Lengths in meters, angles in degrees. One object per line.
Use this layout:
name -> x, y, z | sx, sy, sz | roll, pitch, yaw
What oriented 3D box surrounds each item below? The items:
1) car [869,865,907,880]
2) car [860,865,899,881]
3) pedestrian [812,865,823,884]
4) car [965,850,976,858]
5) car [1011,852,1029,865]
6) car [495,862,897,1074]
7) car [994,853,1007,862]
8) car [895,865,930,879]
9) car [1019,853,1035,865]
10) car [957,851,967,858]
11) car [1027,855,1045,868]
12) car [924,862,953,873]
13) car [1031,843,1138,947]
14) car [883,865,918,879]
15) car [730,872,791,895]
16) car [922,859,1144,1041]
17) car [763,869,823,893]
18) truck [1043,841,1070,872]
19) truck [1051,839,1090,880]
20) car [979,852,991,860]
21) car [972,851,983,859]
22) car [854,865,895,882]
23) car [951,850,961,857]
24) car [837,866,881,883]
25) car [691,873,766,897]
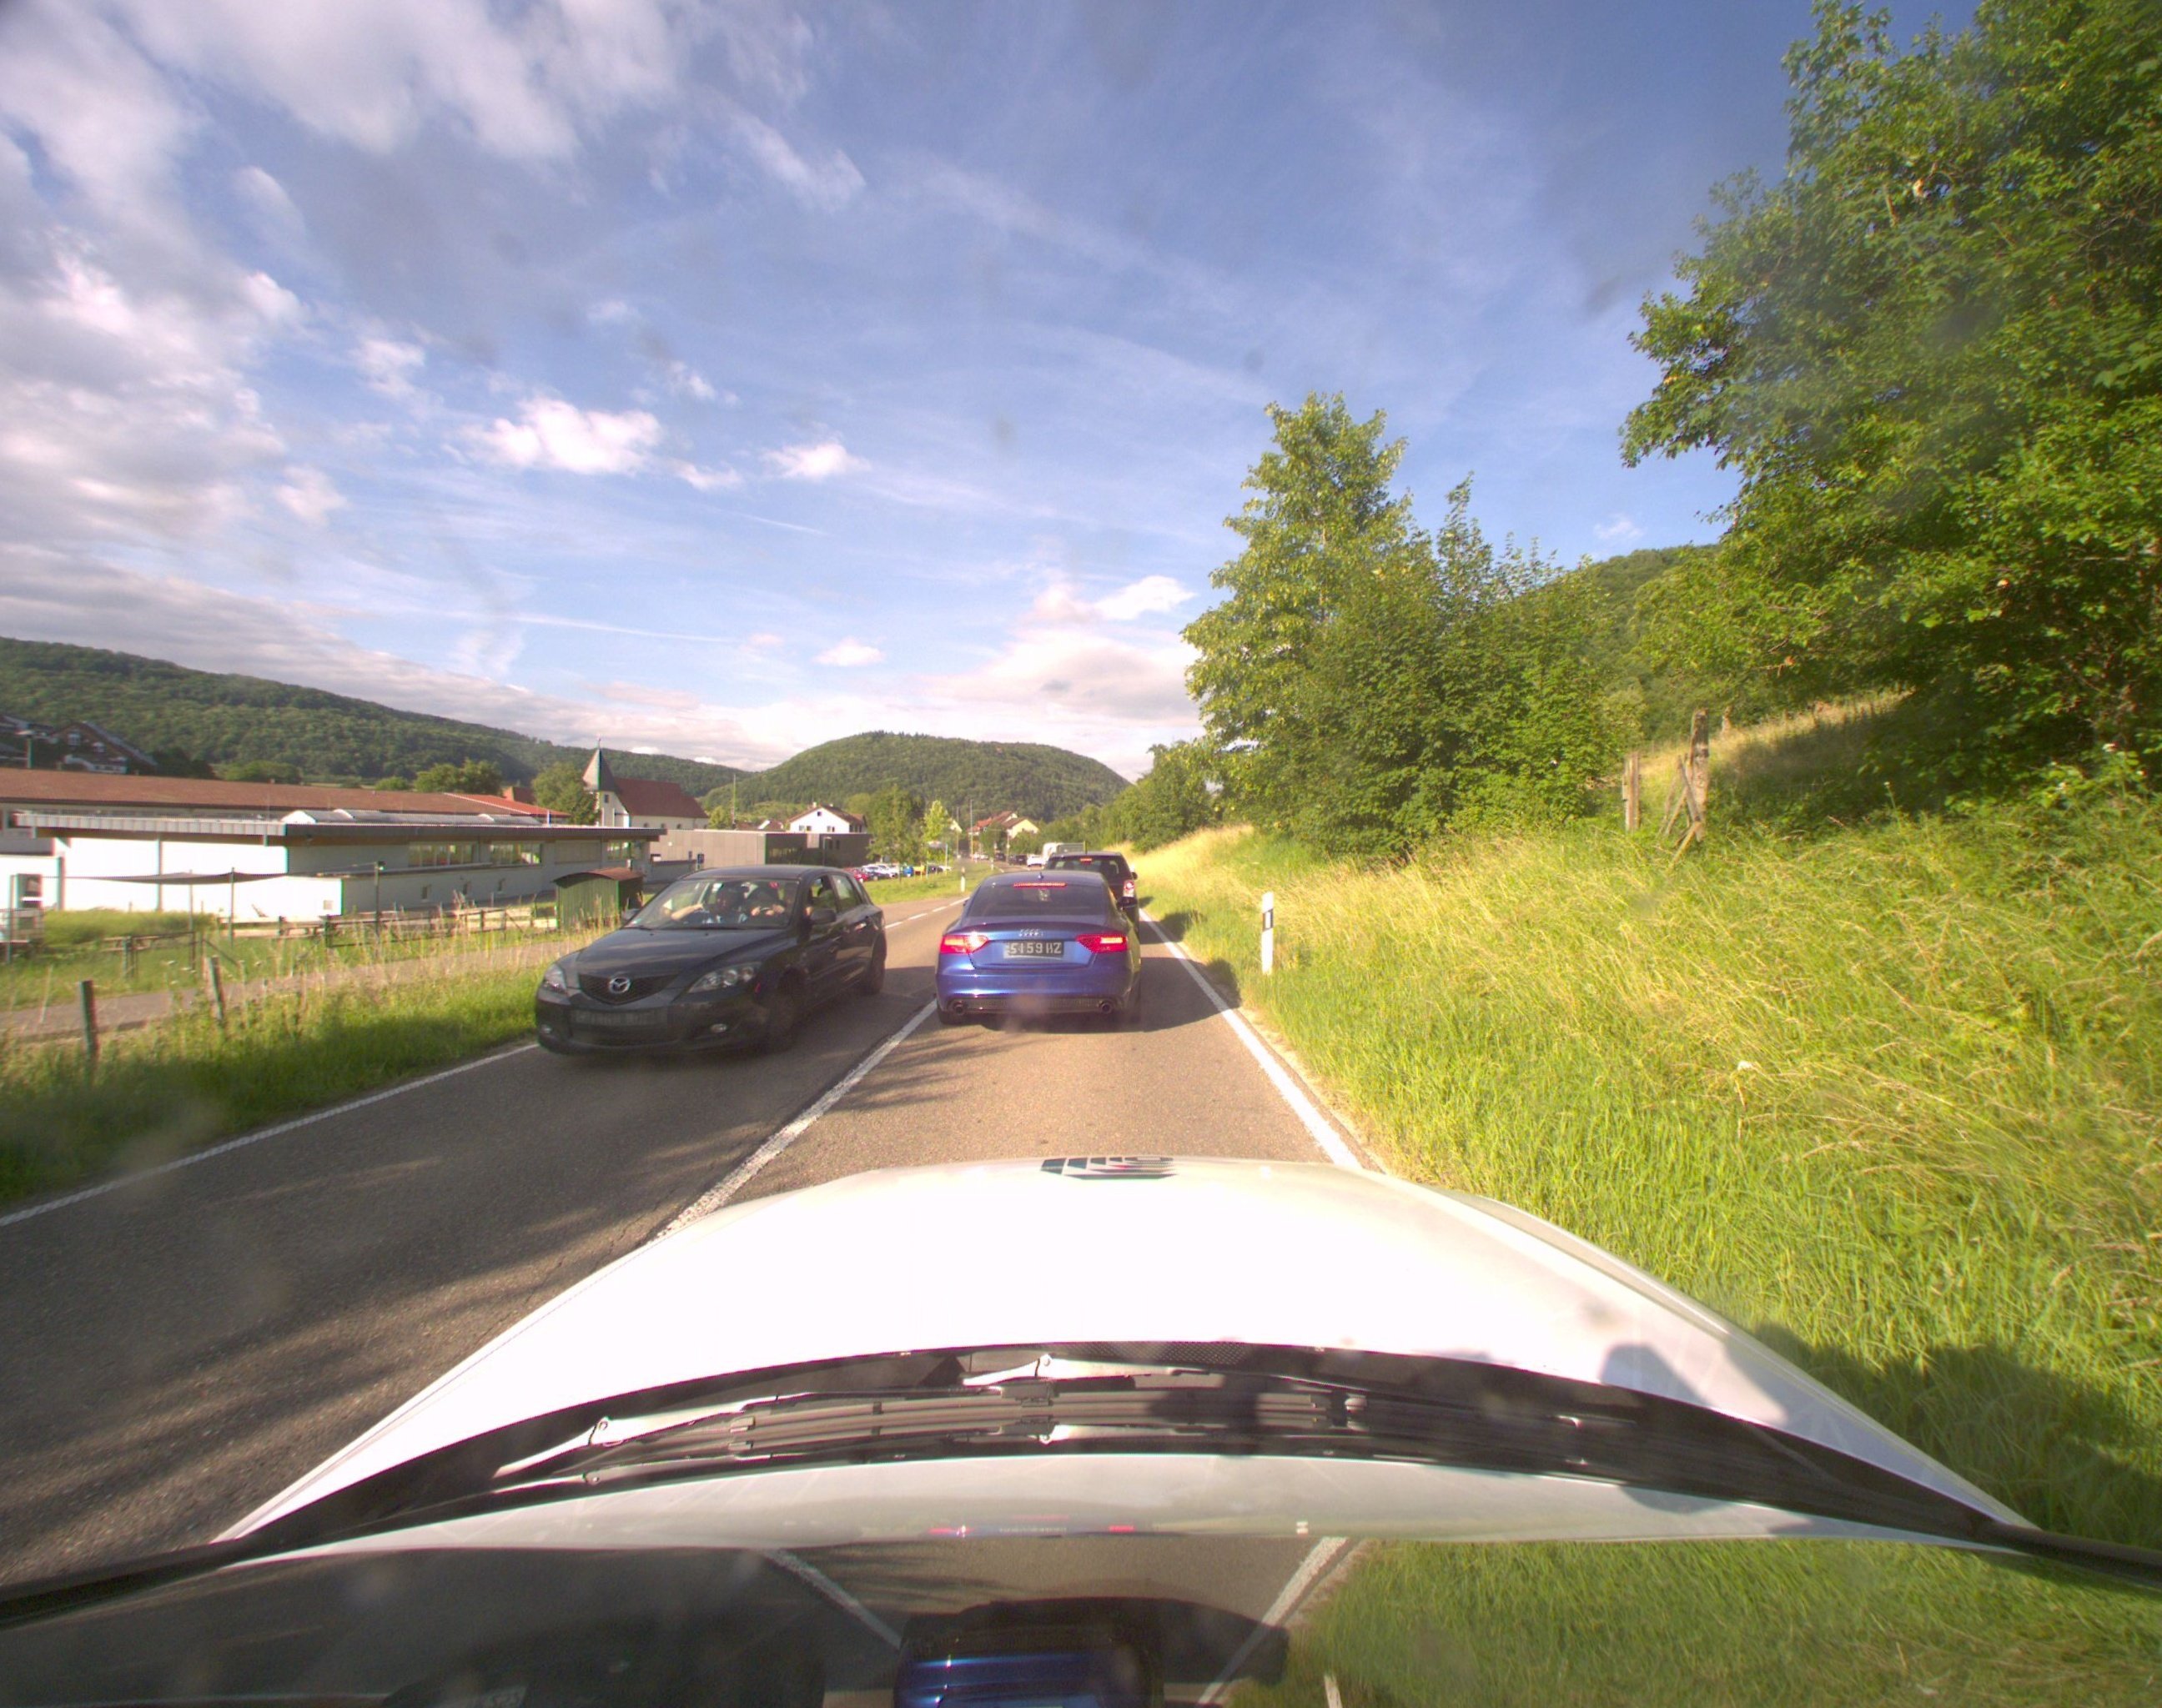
car -> -22.813, 2.197, 96.272 | 3.975, 1.711, 1.999 | 0, -1, -1
car -> -23.020, 2.169, 92.991 | 3.975, 1.711, 1.999 | 0, -1, -1
pedestrian -> -28.872, 2.237, 89.259 | 0.822, 2.014, 0.973 | 0, -1, 1
car -> -24.757, 0.080, 181.686 | 1.849, 1.712, 3.978 | 0, -1, -16
car -> -8.393, 0.641, 111.591 | 1.848, 1.712, 3.980 | 0, -1, -14
car -> -3.073, 0.792, 7.548 | 1.698, 1.430, 4.052 | 0, -1, 2
car -> -14.303, 0.636, 145.062 | 1.848, 1.712, 3.981 | 0, -1, -13
car -> -21.653, 2.266, 104.712 | 3.975, 1.711, 1.999 | 0, -1, -1
car -> -7.932, 0.747, 118.363 | 1.846, 1.712, 3.985 | 0, -1, -11
car -> -27.774, 0.150, 190.616 | 1.849, 1.712, 3.979 | 0, -1, -15
car -> -5.491, 0.922, 99.355 | 1.845, 1.482, 3.987 | 0, -1, -9
car -> -20.823, 1.949, 119.270 | 3.975, 1.579, 1.752 | 0, -1, -1
car -> 0.150, 0.691, 15.203 | 1.747, 1.681, 3.849 | 0, -1, 3
car -> -22.568, 2.249, 102.057 | 3.975, 1.711, 1.999 | 0, -1, -1
car -> -25.217, 2.340, 64.207 | 3.975, 1.711, 1.999 | 0, -1, -1
car -> -0.288, 0.777, 8.344 | 1.747, 1.430, 3.849 | 0, -1, 3
car -> -24.717, 2.321, 70.010 | 4.393, 2.008, 1.999 | 0, -1, -1
truck -> -2.122, 0.229, 69.682 | 2.224, 2.570, 6.701 | 0, -1, -2
truck -> -0.775, 0.368, 55.085 | 2.226, 2.570, 6.093 | 0, -1, -5
car -> -19.196, 0.432, 162.947 | 1.848, 1.712, 3.981 | 0, -1, -13
car -> -21.875, 0.237, 171.728 | 1.849, 1.712, 3.978 | 0, -1, -16
car -> -22.661, 2.133, 89.323 | 3.975, 1.711, 1.999 | 0, -1, -1
car -> -30.639, -0.131, 199.362 | 1.849, 1.712, 3.978 | 0, -1, -16
car -> -23.105, 2.094, 84.782 | 3.975, 1.711, 1.999 | 0, -1, -1
car -> -26.440, 2.322, 61.226 | 4.717, 1.711, 1.999 | 0, -1, -1
